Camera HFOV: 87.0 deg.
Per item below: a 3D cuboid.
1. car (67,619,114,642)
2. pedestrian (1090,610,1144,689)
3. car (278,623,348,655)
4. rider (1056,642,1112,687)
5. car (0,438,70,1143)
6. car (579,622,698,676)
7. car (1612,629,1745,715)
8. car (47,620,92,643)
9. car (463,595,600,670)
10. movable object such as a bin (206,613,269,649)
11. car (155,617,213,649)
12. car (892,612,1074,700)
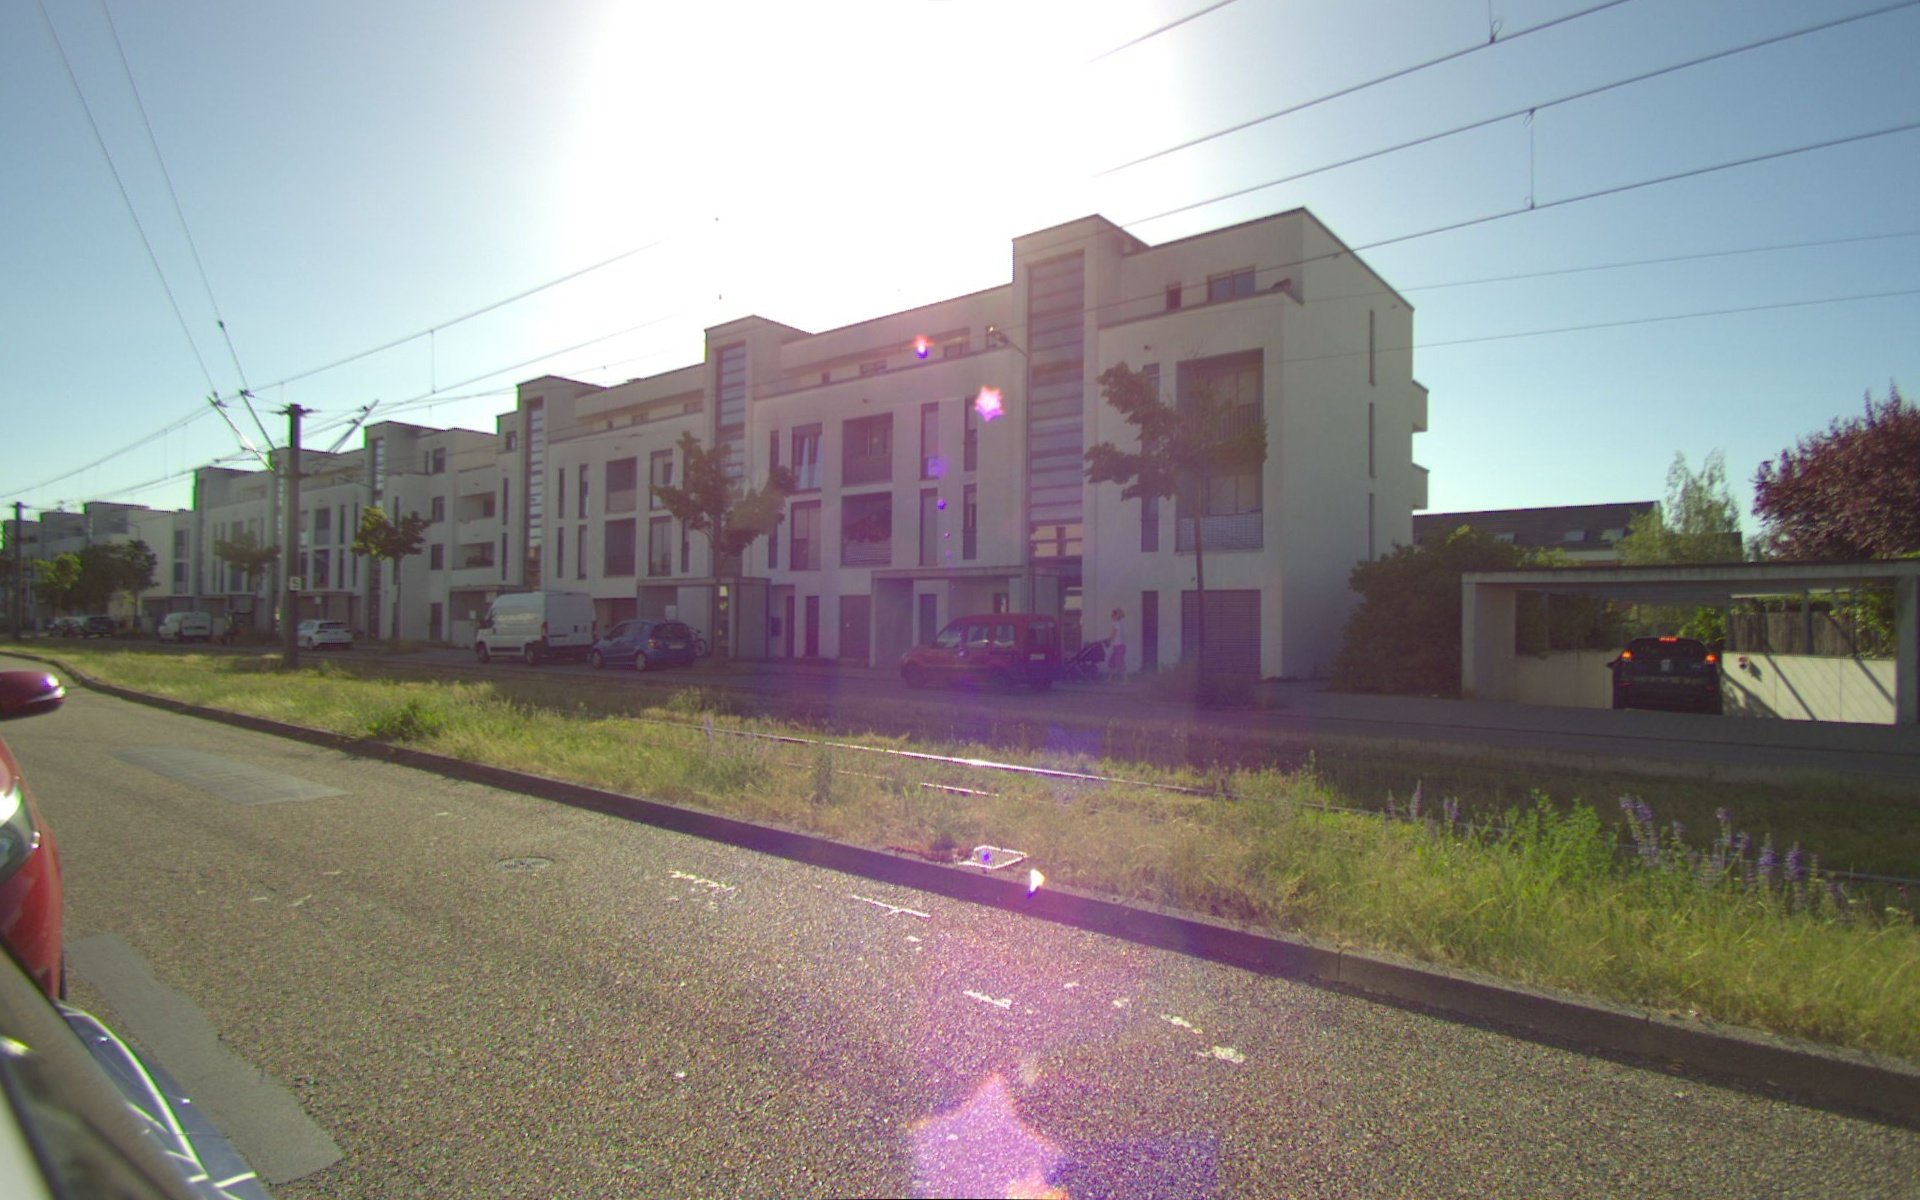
[{"bbox_3d":[-63.049,2.205,73.399,4.149,1.611,1.745,-1,-1,37],"label":"car"},{"bbox_3d":[3.597,1.117,23.186,0.806,1.761,0.910,0,-1,-44],"label":"pedestrian"},{"bbox_3d":[-31.246,1.861,48.861,4.149,1.443,1.503,-1,-1,37],"label":"car"},{"bbox_3d":[2.922,1.508,23.902,0.769,1.010,1.046,0,-1,-44],"label":"rider"},{"bbox_3d":[-5.146,0.576,3.910,5.203,1.948,1.954,-1,0,42],"label":"car"},{"bbox_3d":[-10.088,1.493,31.636,3.840,1.548,1.805,-1,-1,41],"label":"car"},{"bbox_3d":[13.813,1.418,19.383,1.708,1.441,3.688,-1,-6,42],"label":"car"},{"bbox_3d":[-67.568,2.379,76.769,4.149,1.611,1.745,-1,-1,37],"label":"car"},{"bbox_3d":[-15.314,1.115,36.001,5.583,2.463,2.119,-1,-1,39],"label":"car"},{"bbox_3d":[-40.961,1.723,57.315,4.149,1.952,1.745,-1,-1,37],"label":"movable object such as a bin"},{"bbox_3d":[-47.261,2.008,61.610,4.149,1.884,1.745,-1,-1,37],"label":"car"},{"bbox_3d":[0.467,1.198,22.987,3.836,1.809,1.861,-1,-1,42],"label":"car"}]
